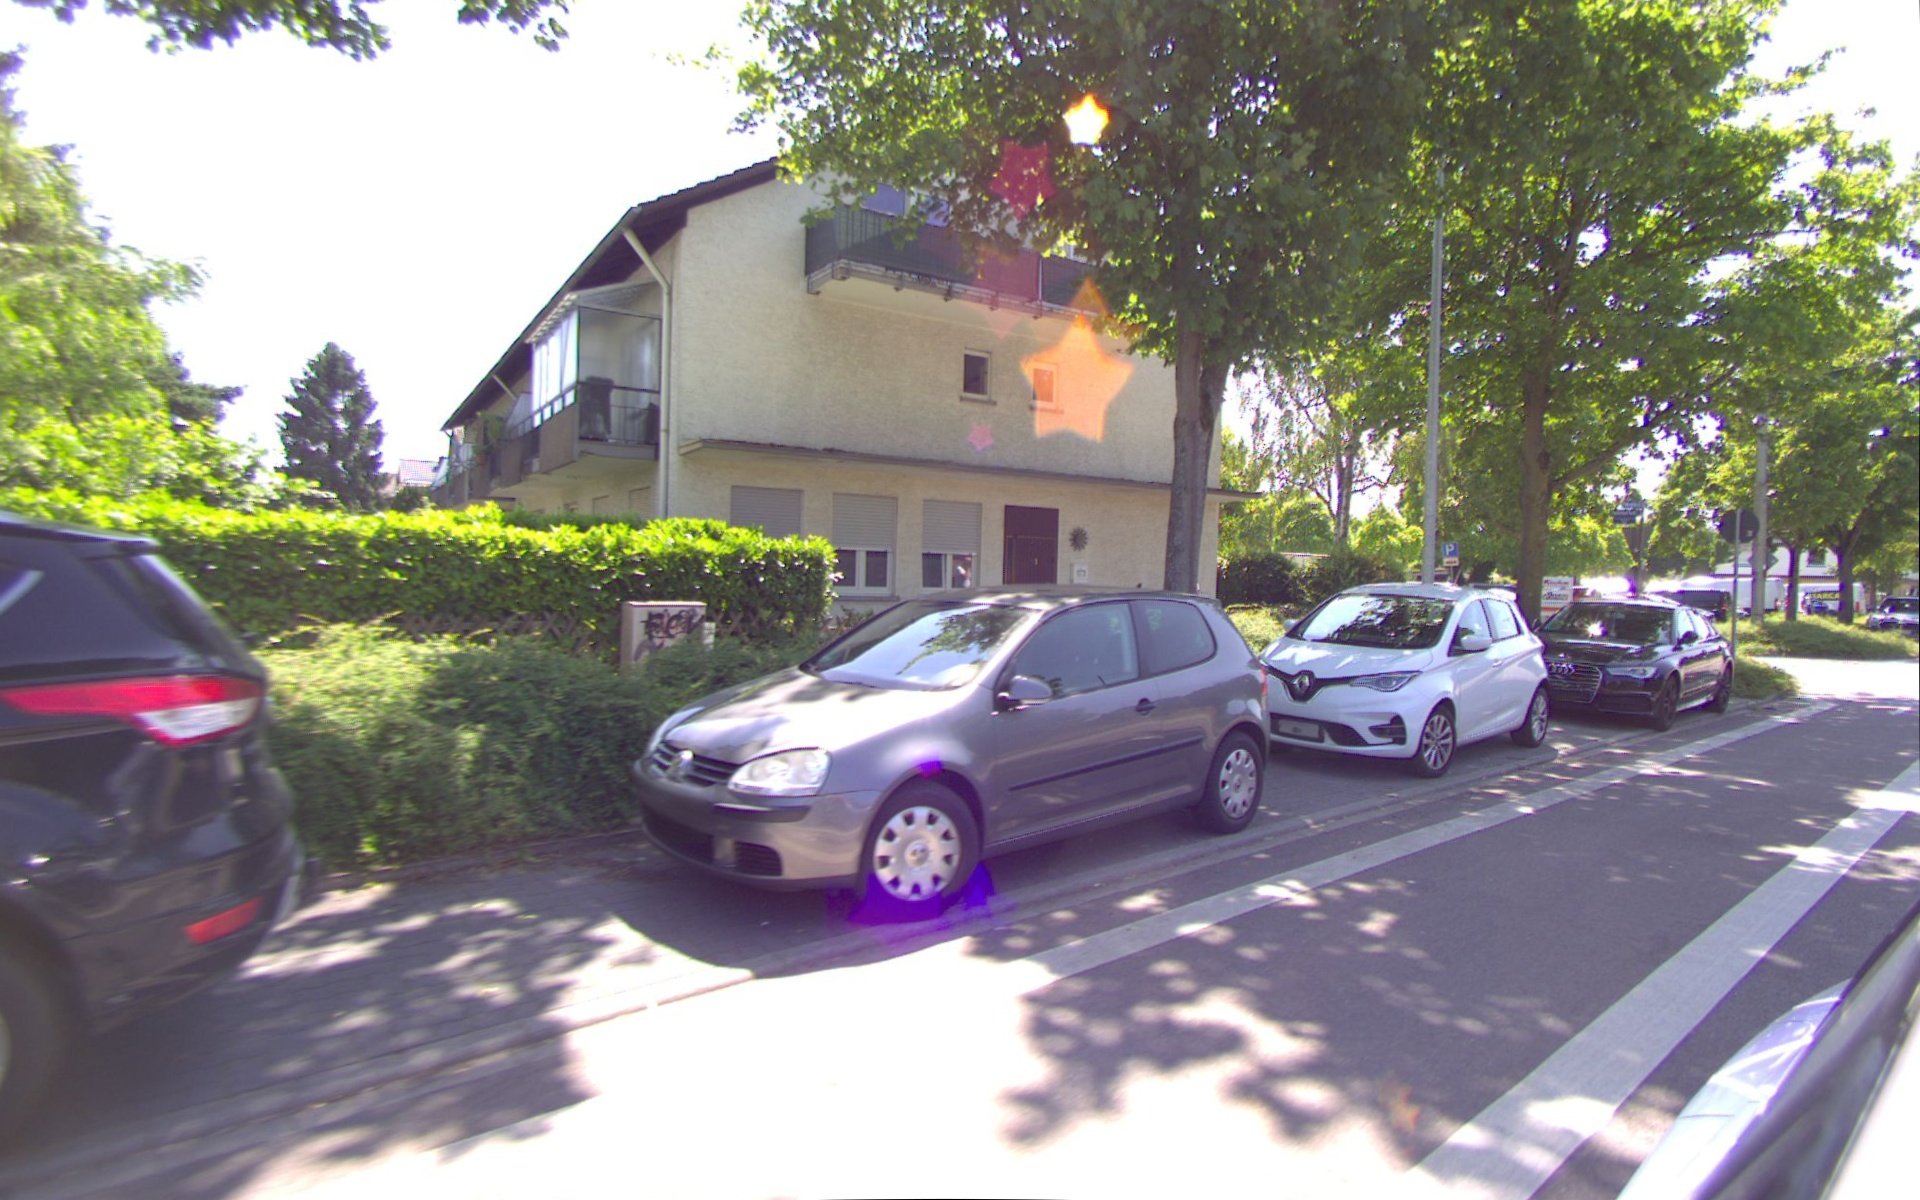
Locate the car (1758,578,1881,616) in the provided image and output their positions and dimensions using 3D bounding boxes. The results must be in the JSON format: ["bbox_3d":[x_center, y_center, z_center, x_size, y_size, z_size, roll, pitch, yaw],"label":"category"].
[{"bbox_3d":[60.992,-0.180,71.926,2.221,2.561,6.358,0,-1,-37],"label":"car"}]

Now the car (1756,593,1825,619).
[{"bbox_3d":[56.630,0.427,69.041,1.697,1.739,3.378,0,-1,-40],"label":"car"}]

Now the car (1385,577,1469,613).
[{"bbox_3d":[27.217,-0.297,59.071,1.724,1.829,4.005,0,3,-43],"label":"car"}]

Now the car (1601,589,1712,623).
[{"bbox_3d":[32.657,0.289,47.524,1.739,1.510,4.027,0,-1,-41],"label":"car"}]

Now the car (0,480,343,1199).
[{"bbox_3d":[-4.071,0.499,2.097,4.543,1.727,1.846,1,4,-40],"label":"car"}]

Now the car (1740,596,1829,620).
[{"bbox_3d":[54.708,0.503,67.194,1.921,1.524,4.410,0,-1,-43],"label":"car"}]

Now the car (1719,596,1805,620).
[{"bbox_3d":[48.674,0.492,61.470,1.698,1.424,3.891,0,-1,-42],"label":"car"}]

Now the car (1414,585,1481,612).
[{"bbox_3d":[30.404,-0.100,63.127,1.651,1.446,3.345,1,3,-38],"label":"car"}]

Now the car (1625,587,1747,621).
[{"bbox_3d":[36.690,0.211,51.231,1.919,1.665,4.702,0,-1,-39],"label":"car"}]

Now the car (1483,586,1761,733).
[{"bbox_3d":[8.703,0.633,13.112,4.742,1.453,1.844,0,4,-43],"label":"car"}]

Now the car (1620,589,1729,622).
[{"bbox_3d":[34.586,0.263,49.048,1.739,1.510,4.027,0,-1,-41],"label":"car"}]

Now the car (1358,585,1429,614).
[{"bbox_3d":[24.915,-0.063,58.263,1.651,1.446,3.345,1,3,-38],"label":"car"}]

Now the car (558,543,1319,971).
[{"bbox_3d":[0.159,0.561,5.929,4.280,1.548,1.844,0,4,-43],"label":"car"}]

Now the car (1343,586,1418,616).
[{"bbox_3d":[23.314,0.049,56.170,1.651,1.446,3.475,1,3,-38],"label":"car"}]

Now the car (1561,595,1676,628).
[{"bbox_3d":[28.731,0.495,44.254,1.738,1.375,3.868,0,-1,-39],"label":"car"}]

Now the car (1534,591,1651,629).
[{"bbox_3d":[26.540,0.418,42.526,1.740,1.508,3.864,0,-1,-42],"label":"car"}]

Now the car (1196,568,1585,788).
[{"bbox_3d":[4.241,0.571,9.642,4.135,1.548,1.844,0,4,-43],"label":"car"}]

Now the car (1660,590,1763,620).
[{"bbox_3d":[38.914,0.258,52.457,1.739,1.510,4.027,0,-1,-41],"label":"car"}]

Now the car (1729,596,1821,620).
[{"bbox_3d":[50.776,0.486,63.123,1.698,1.424,4.281,0,-1,-42],"label":"car"}]

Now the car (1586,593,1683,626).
[{"bbox_3d":[30.698,0.435,46.138,1.652,1.447,3.341,0,-1,-39],"label":"car"}]

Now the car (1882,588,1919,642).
[{"bbox_3d":[32.354,0.494,33.785,4.626,1.652,1.716,-1,4,-41],"label":"car"}]

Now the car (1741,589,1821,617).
[{"bbox_3d":[52.963,0.195,65.315,1.922,1.807,3.781,1,-1,-44],"label":"car"}]

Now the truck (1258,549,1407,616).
[{"bbox_3d":[19.392,-0.981,53.048,2.382,3.122,6.962,1,3,-41],"label":"truck"}]

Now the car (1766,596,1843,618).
[{"bbox_3d":[58.669,0.461,70.333,1.698,1.491,3.891,0,-1,-42],"label":"car"}]

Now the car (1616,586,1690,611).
[{"bbox_3d":[60.594,-0.141,88.552,1.875,1.923,4.929,1,3,-40],"label":"car"}]

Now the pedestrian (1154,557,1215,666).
[{"bbox_3d":[3.707,0.180,16.699,0.747,1.743,0.623,1,1,43],"label":"pedestrian"}]

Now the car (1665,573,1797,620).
[{"bbox_3d":[42.651,-0.175,56.106,2.057,2.491,5.502,1,-1,-39],"label":"car"}]
